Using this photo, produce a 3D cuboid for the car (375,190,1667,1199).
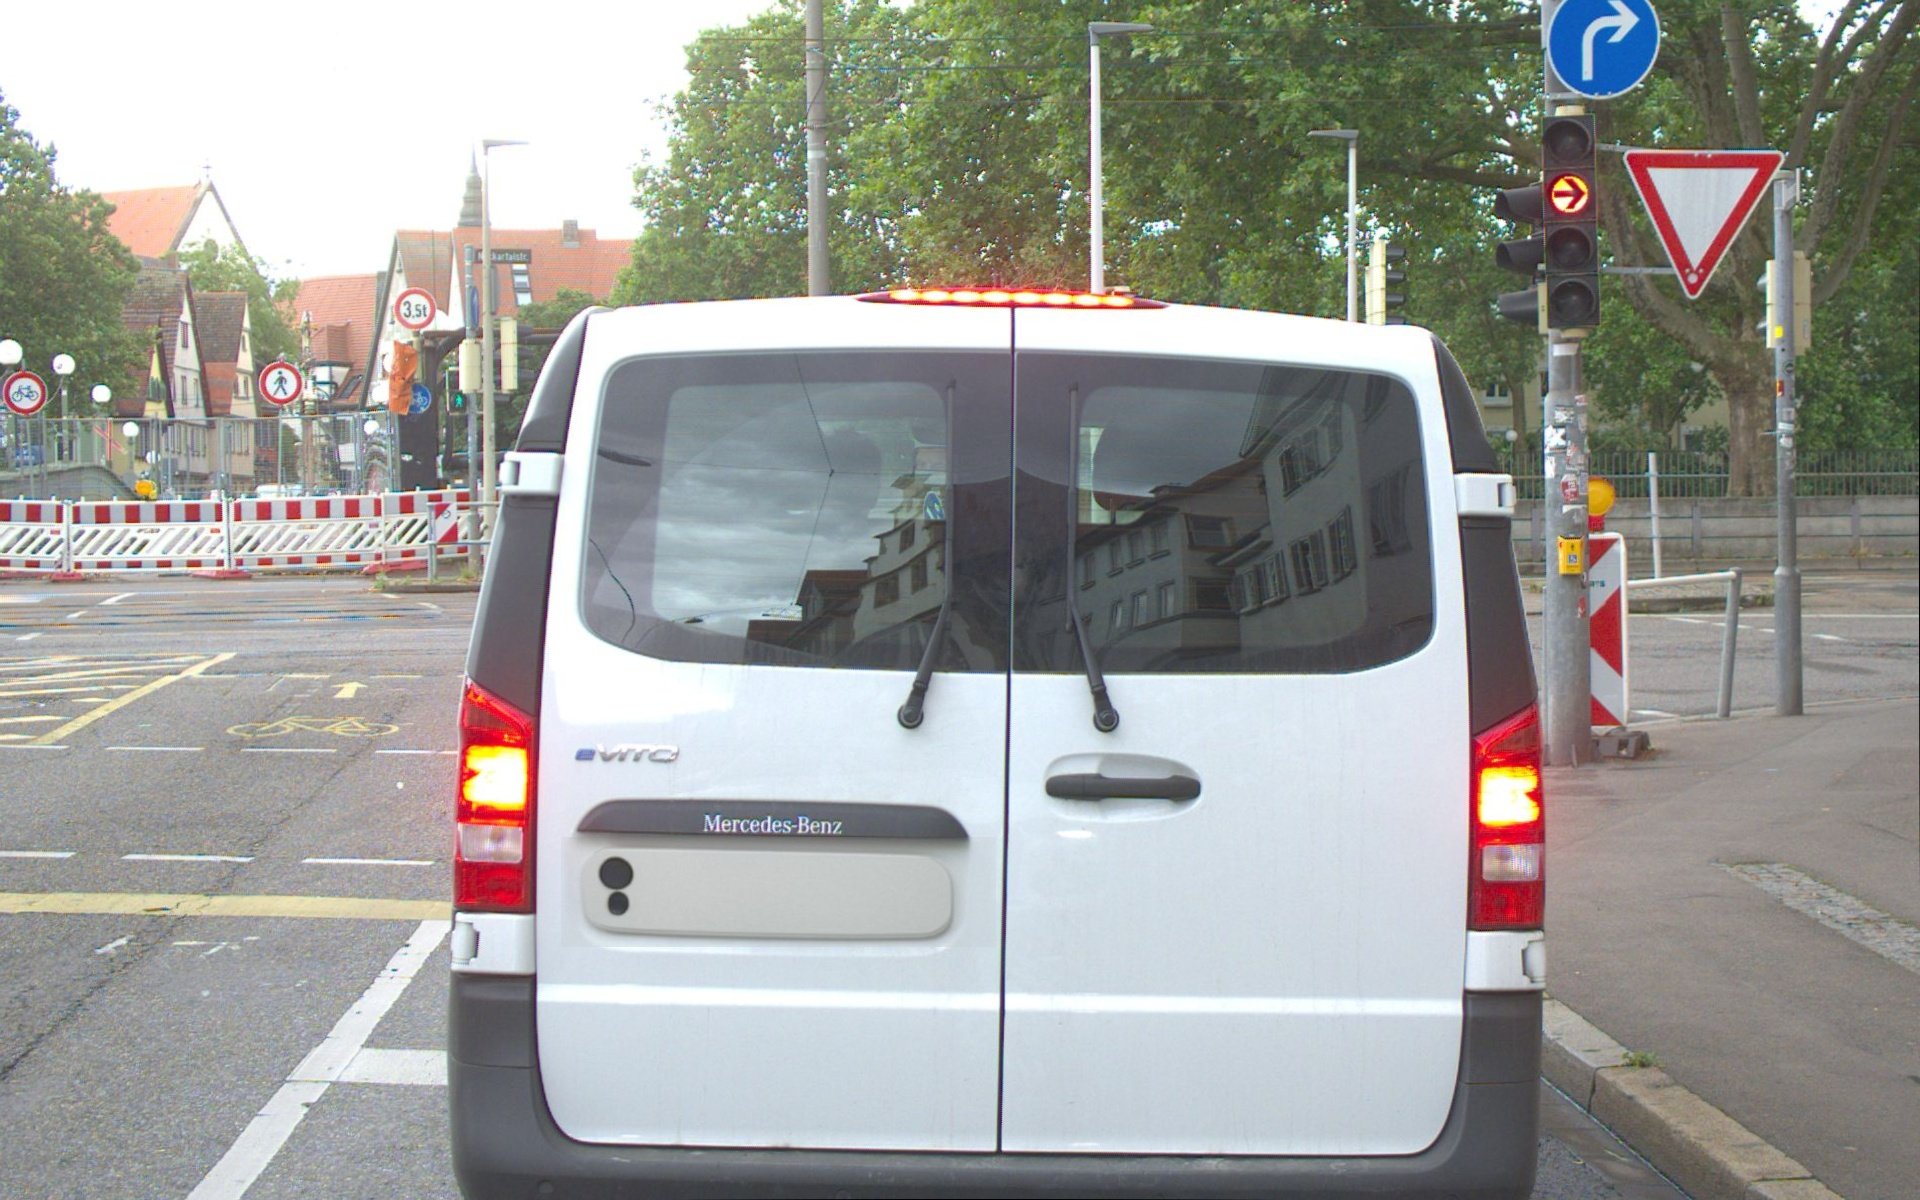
[{"bbox_3d":[0.060,0.295,7.606,1.951,2.006,4.699,1,2,-1],"label":"car"}]
